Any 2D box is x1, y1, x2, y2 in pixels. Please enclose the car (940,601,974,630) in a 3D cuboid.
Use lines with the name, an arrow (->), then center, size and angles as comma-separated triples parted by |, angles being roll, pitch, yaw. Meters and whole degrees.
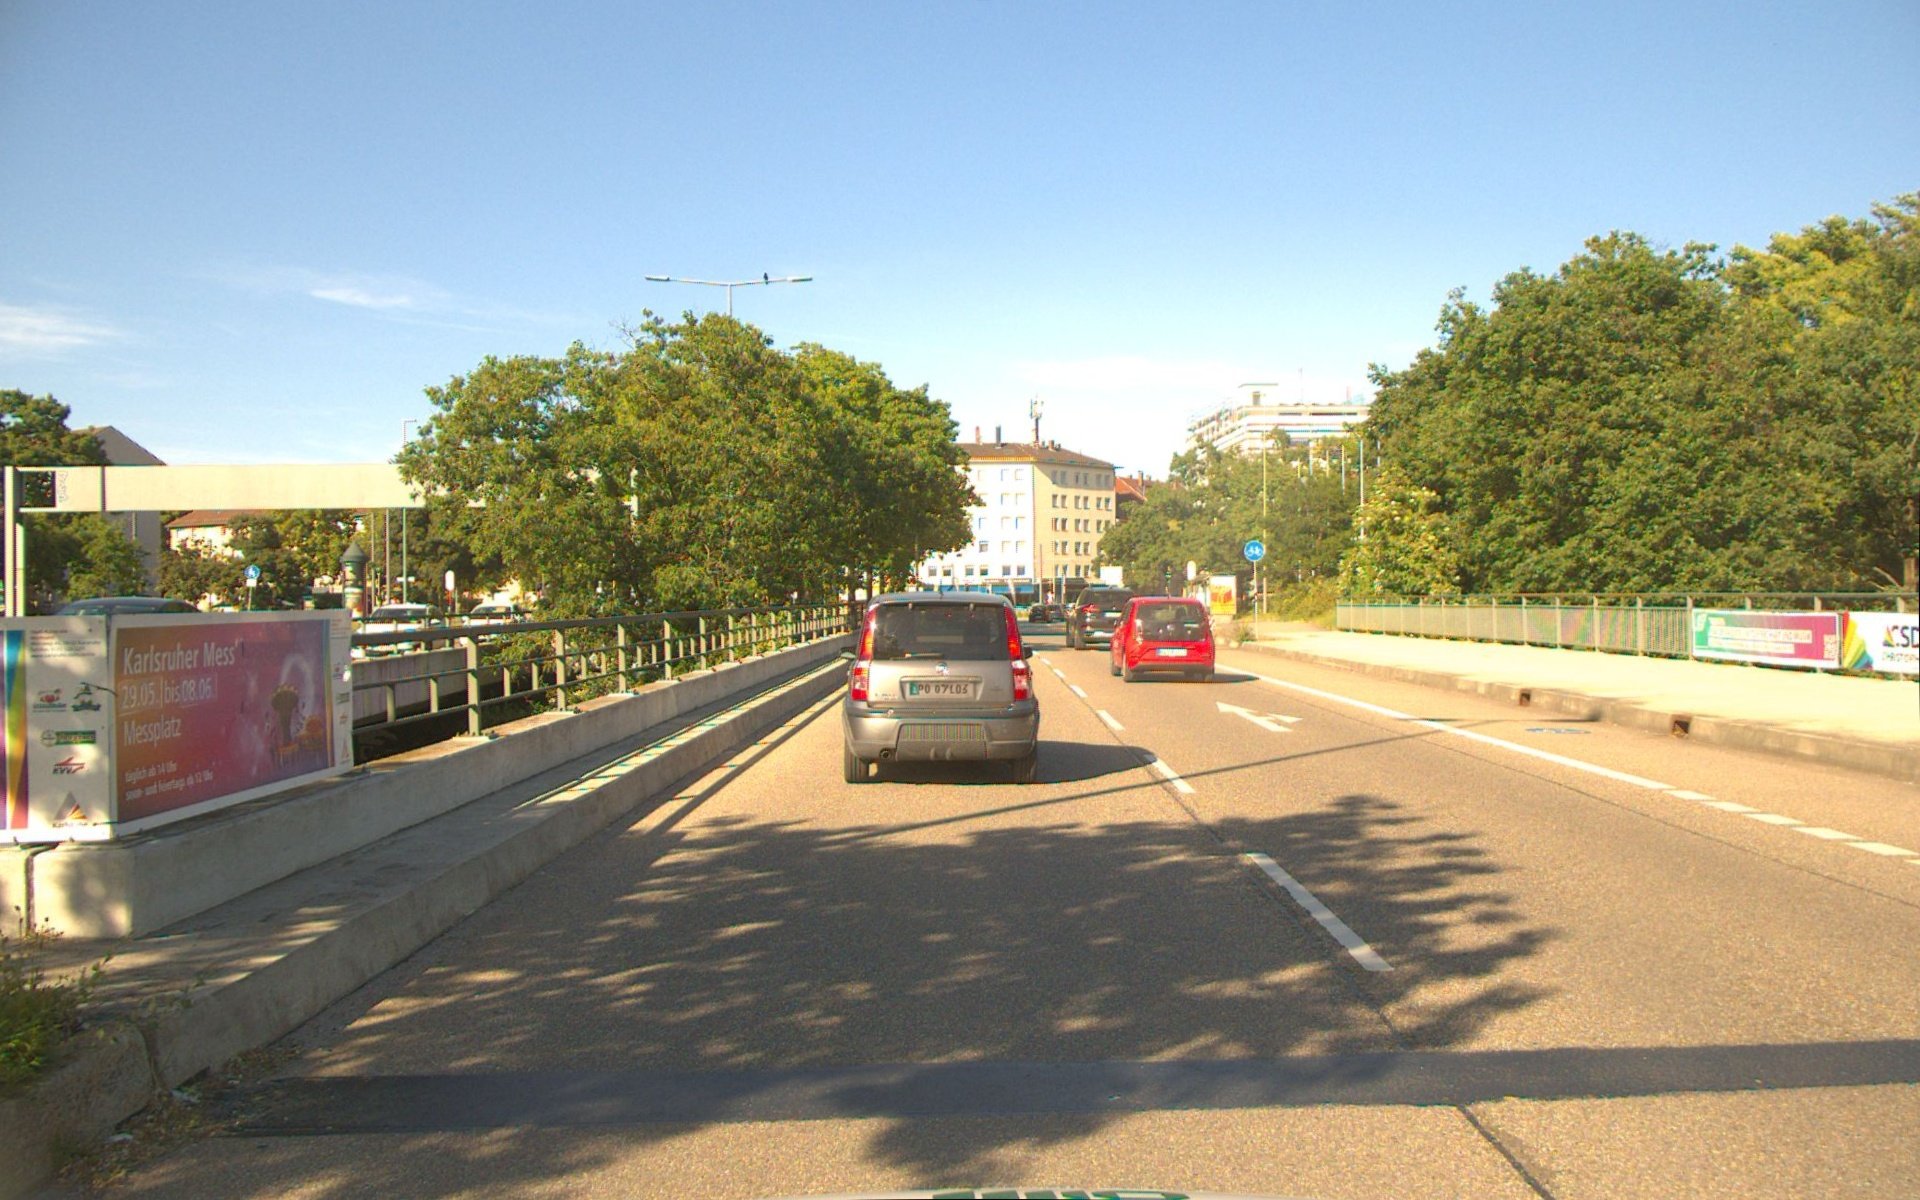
car -> -0.157, 0.875, 95.247 | 1.905, 1.555, 4.098 | -1, 0, 1

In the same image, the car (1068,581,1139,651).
car -> 4.054, 0.466, 47.279 | 1.904, 1.872, 4.154 | 1, -1, 4

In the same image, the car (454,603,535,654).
car -> -14.906, 0.882, 53.087 | 1.710, 1.526, 3.996 | -1, 0, -4

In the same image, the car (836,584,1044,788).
car -> -0.161, 0.637, 14.533 | 1.584, 1.542, 3.819 | 0, 1, 0

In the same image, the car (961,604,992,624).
car -> 1.393, 1.119, 135.489 | 1.903, 1.555, 4.101 | -1, 0, 10

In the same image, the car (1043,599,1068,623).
car -> 8.208, 0.942, 142.289 | 1.905, 1.872, 4.155 | -4, -1, 4

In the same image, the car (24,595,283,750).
car -> -11.813, 0.974, 24.586 | 1.954, 2.049, 4.330 | -1, 0, -4

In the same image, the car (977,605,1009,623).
car -> 2.932, 1.209, 145.694 | 1.904, 1.555, 4.100 | -1, 0, 15

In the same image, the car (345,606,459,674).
car -> -13.748, 0.951, 40.942 | 1.710, 1.526, 3.996 | -1, 0, -4

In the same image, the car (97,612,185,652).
car -> -45.788, 1.758, 92.553 | 4.178, 2.049, 1.986 | -1, 0, -23

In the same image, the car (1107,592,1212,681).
car -> 3.586, 0.612, 30.168 | 1.584, 1.488, 3.752 | 0, 1, 2

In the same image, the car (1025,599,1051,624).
car -> 6.400, 0.973, 135.265 | 1.905, 1.872, 4.155 | -4, -1, 4
